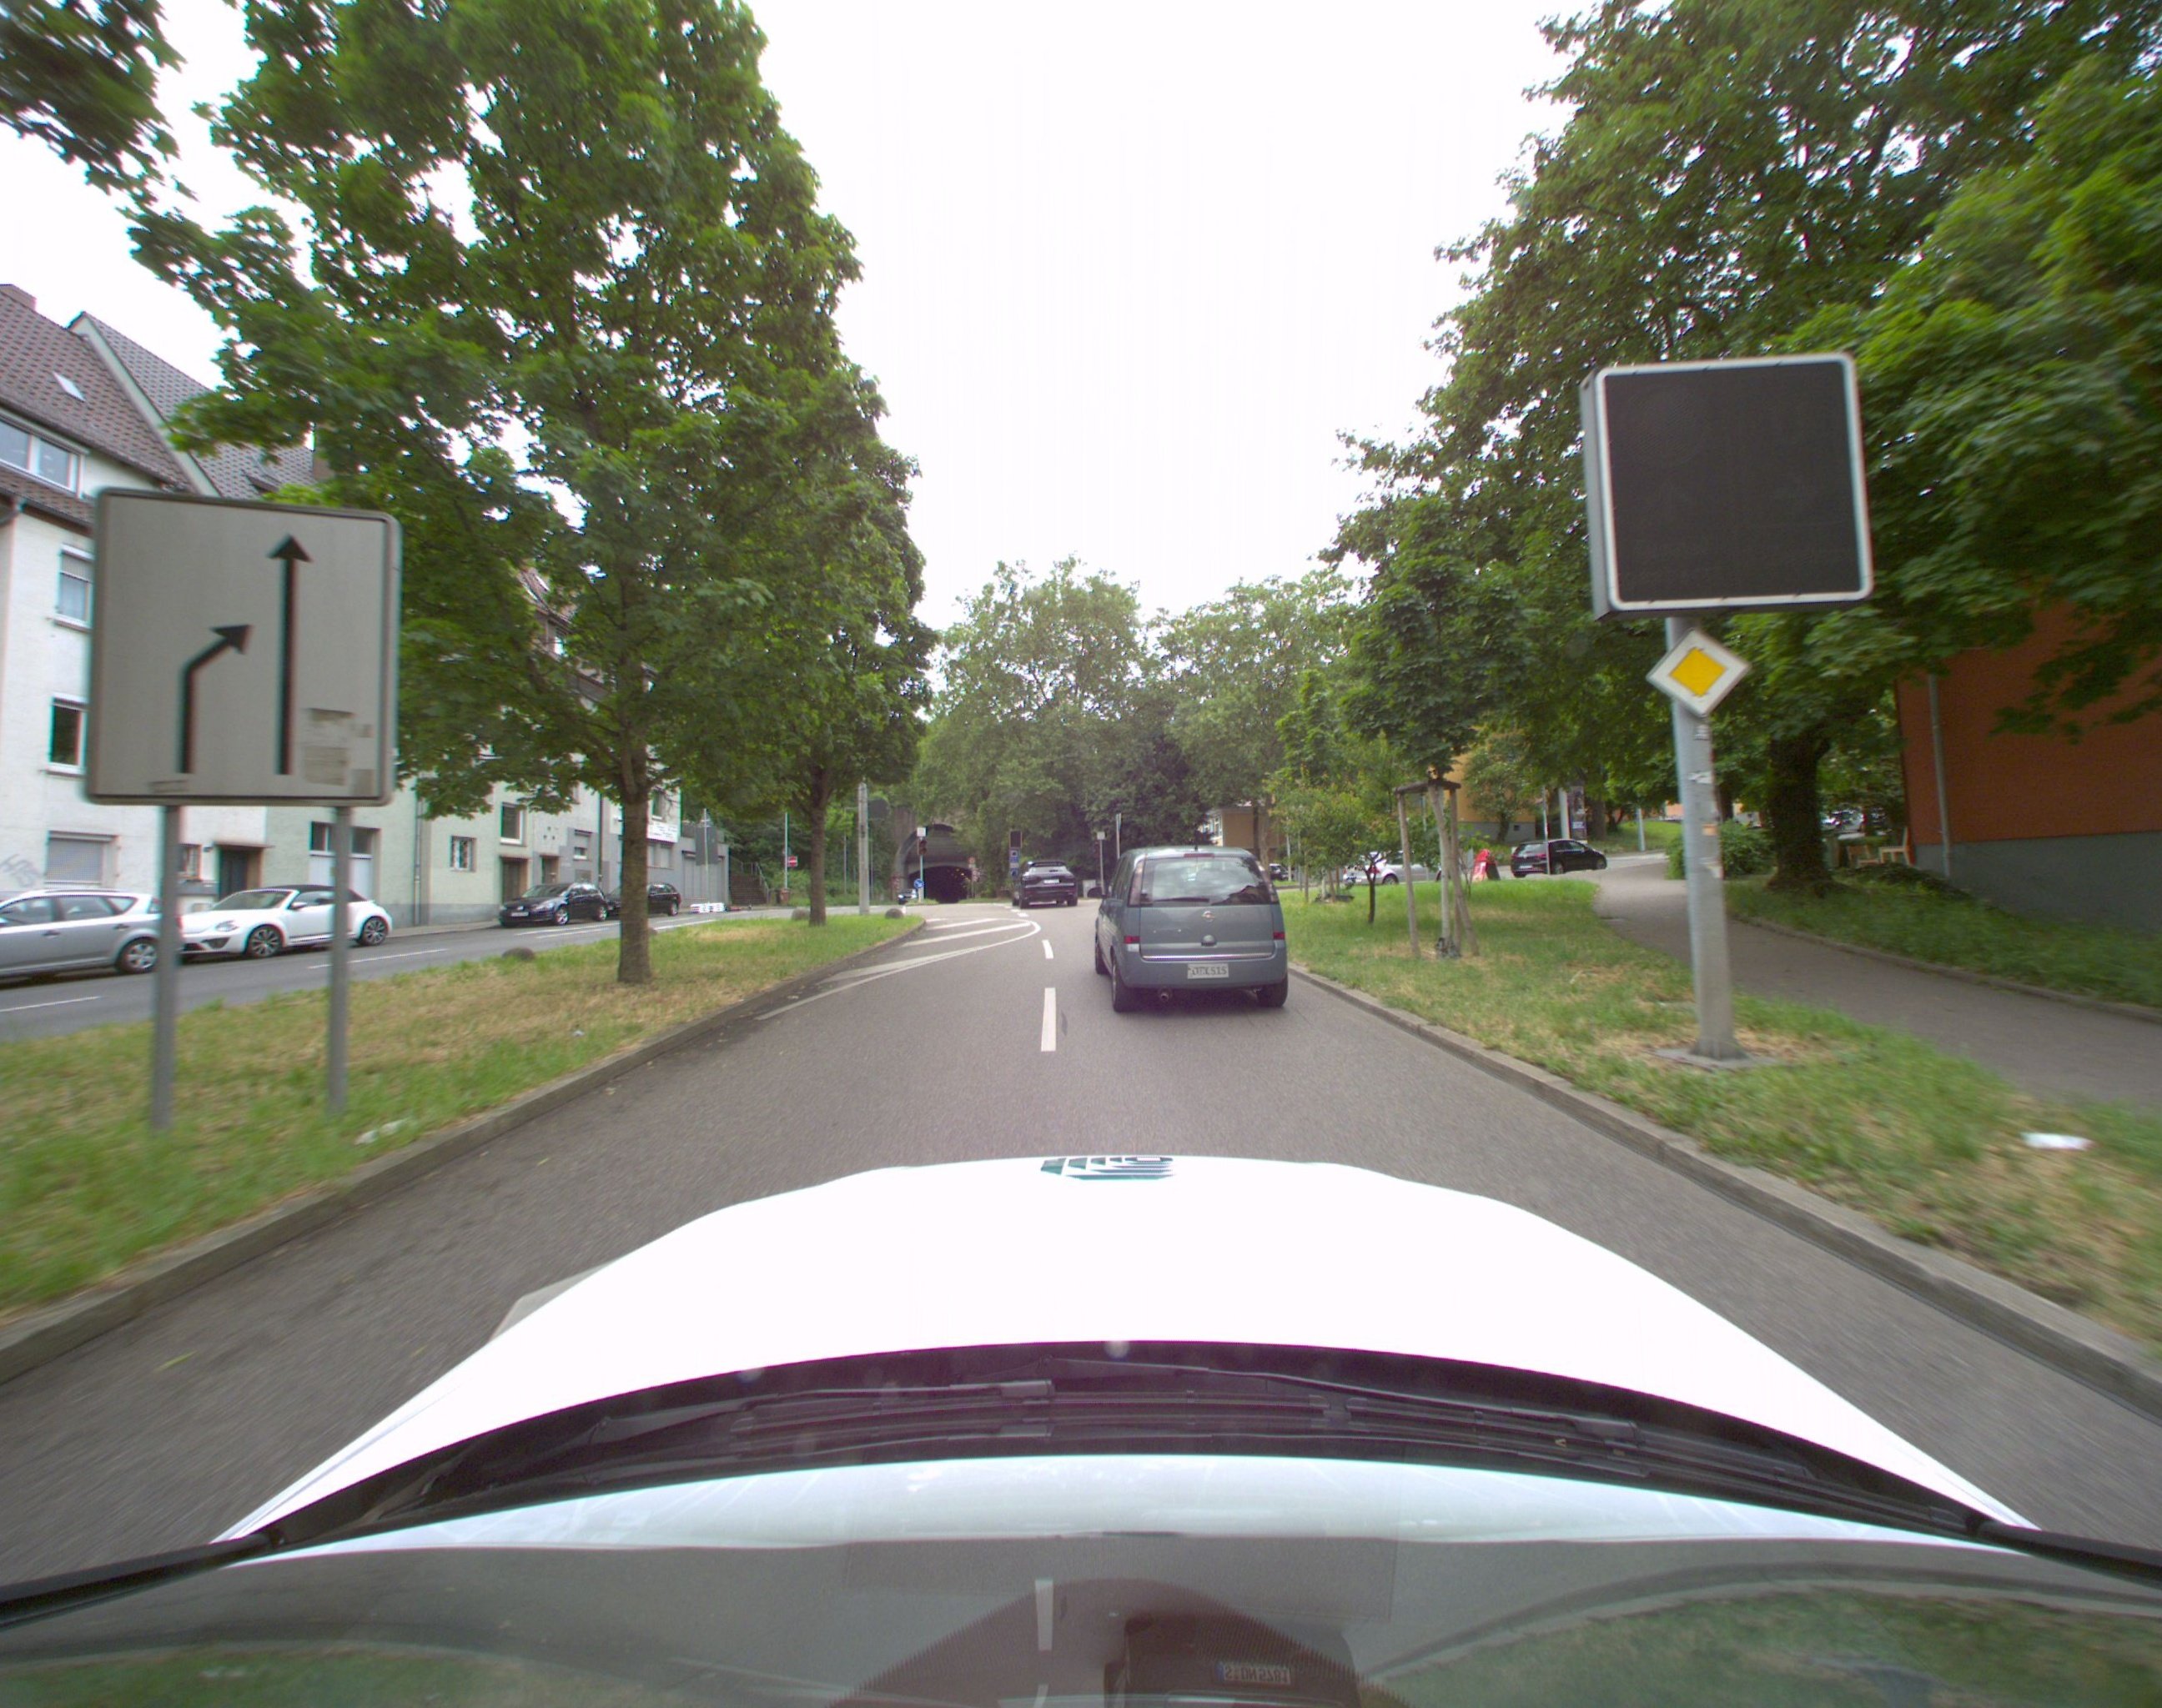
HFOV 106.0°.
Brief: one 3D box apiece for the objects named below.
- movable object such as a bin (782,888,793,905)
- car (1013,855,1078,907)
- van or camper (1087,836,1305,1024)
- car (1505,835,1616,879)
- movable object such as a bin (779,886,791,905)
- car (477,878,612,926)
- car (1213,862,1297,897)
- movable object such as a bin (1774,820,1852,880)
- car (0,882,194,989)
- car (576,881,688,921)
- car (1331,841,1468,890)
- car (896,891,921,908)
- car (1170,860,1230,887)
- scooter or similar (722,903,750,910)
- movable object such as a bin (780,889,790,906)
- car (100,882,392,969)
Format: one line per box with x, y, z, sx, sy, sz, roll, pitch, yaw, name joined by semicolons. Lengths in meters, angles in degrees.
-18.535;2.675;51.408;0.557;1.025;0.428;2;-3;-17;movable object such as a bin
-1.355;0.946;29.010;1.991;1.653;3.990;-2;-1;-7;car
1.044;0.652;9.079;1.731;1.578;3.643;-3;1;-2;van or camper
18.589;0.094;31.540;4.141;1.428;1.722;-3;-2;-28;car
-18.073;2.531;49.803;0.606;1.186;0.489;2;-3;-17;movable object such as a bin
-17.875;1.550;27.411;1.990;1.423;4.203;-2;-1;-5;car
10.335;1.517;48.406;4.369;1.485;1.875;-8;-2;30;car
19.213;-0.103;21.373;1.087;1.450;1.229;-2;-3;-36;movable object such as a bin
-17.246;1.293;12.746;1.989;1.552;4.378;-2;-1;-2;car
-17.842;1.821;32.637;1.988;1.400;4.515;-2;-1;-1;car
10.904;0.371;27.960;4.129;1.428;1.851;-3;0;-19;car
-18.108;4.786;85.492;1.866;1.699;4.927;-2;-3;-4;car
8.334;1.409;57.597;2.001;1.578;4.868;-2;-3;-21;car
-17.250;2.634;40.738;1.126;0.288;1.092;-2;-3;-17;scooter or similar
-17.880;2.636;49.256;0.517;0.968;0.442;2;-3;-17;movable object such as a bin
-17.545;1.429;17.479;1.988;1.474;4.156;-2;-1;-1;car
